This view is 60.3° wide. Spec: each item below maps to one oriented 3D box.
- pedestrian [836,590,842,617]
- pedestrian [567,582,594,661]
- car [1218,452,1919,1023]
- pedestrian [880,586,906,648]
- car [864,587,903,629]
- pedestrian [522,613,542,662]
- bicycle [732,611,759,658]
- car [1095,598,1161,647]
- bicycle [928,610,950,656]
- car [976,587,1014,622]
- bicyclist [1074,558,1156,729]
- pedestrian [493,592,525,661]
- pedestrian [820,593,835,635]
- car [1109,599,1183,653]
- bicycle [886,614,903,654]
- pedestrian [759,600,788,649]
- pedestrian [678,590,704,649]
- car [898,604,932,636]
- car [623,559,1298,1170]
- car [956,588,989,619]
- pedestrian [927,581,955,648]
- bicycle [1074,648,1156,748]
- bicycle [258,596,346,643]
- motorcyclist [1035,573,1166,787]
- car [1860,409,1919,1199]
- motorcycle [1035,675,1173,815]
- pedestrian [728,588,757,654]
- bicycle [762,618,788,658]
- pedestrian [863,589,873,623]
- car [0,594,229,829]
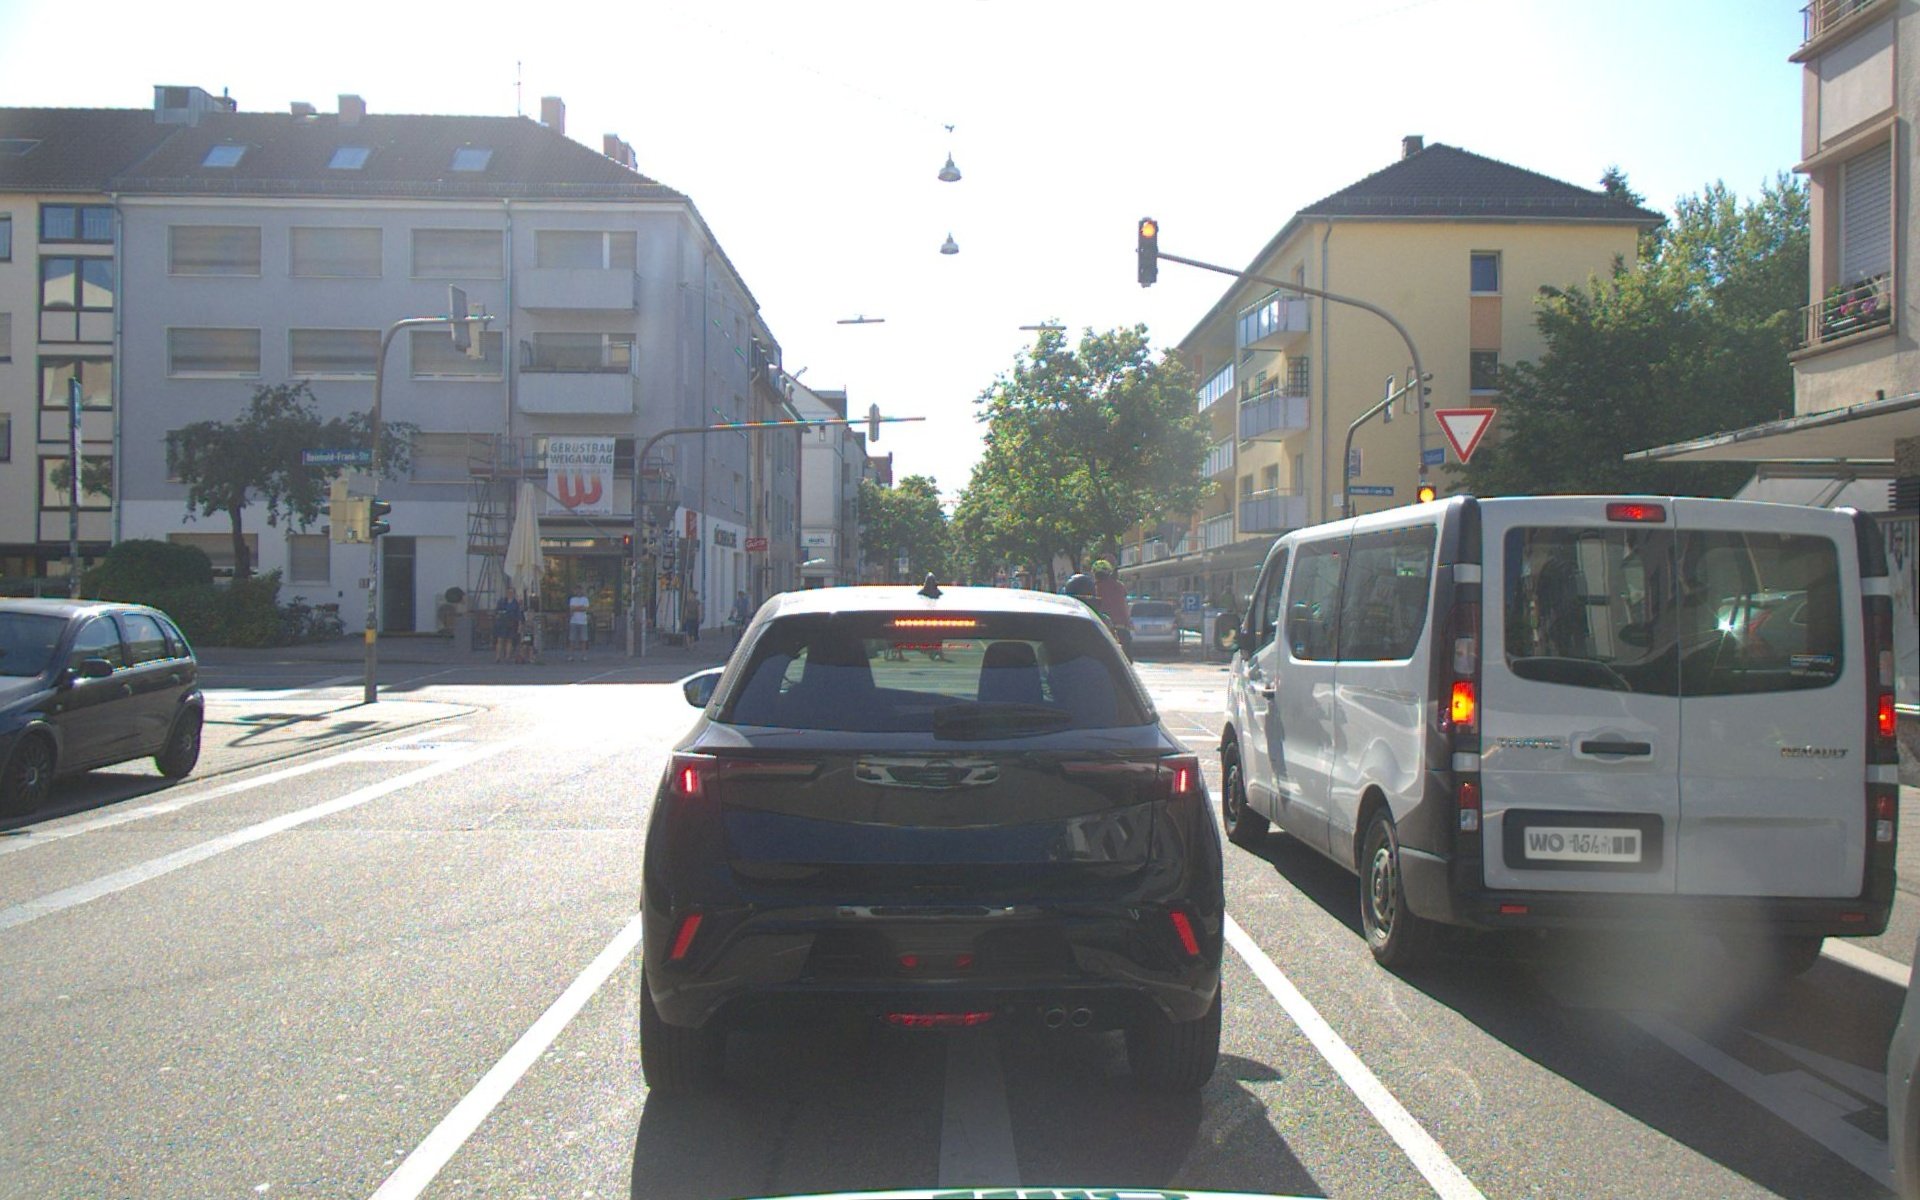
[{"bbox_3d":[-7.643,0.213,104.400,0.394,1.704,0.417,0,0,-1],"label":"pedestrian"},{"bbox_3d":[-8.690,0.492,37.882,0.550,1.806,0.582,1,0,-9],"label":"pedestrian"},{"bbox_3d":[2.718,0.499,8.509,1.953,2.013,4.895,2,0,0],"label":"car"},{"bbox_3d":[-1.770,0.452,43.757,0.666,1.634,0.762,0,0,-3],"label":"pedestrian"},{"bbox_3d":[-3.821,0.399,82.633,1.817,2.049,3.880,0,0,-1],"label":"car"},{"bbox_3d":[-9.659,0.844,37.326,0.348,1.111,0.461,0,0,-4],"label":"pedestrian"},{"bbox_3d":[-5.689,0.900,43.900,0.511,1.167,2.282,0,0,-3],"label":"bicycle"},{"bbox_3d":[5.247,0.674,51.958,1.601,1.458,3.999,0,0,-1],"label":"car"},{"bbox_3d":[-0.561,0.857,43.428,0.511,1.167,2.169,0,0,-3],"label":"bicycle"},{"bbox_3d":[1.775,0.216,85.040,1.863,1.758,4.073,0,0,0],"label":"car"},{"bbox_3d":[1.630,0.440,17.556,0.675,1.742,1.413,0,0,-3],"label":"bicyclist"},{"bbox_3d":[-10.164,0.597,37.260,0.573,1.547,0.649,0,0,-4],"label":"pedestrian"},{"bbox_3d":[-5.359,0.565,67.128,0.558,1.719,0.588,0,0,-1],"label":"pedestrian"},{"bbox_3d":[5.286,0.712,47.340,1.601,1.458,3.956,0,0,-1],"label":"car"},{"bbox_3d":[-1.749,0.901,43.926,0.434,1.010,2.068,0,0,-3],"label":"bicycle"},{"bbox_3d":[-4.895,0.629,43.478,0.692,1.275,0.802,0,0,-3],"label":"pedestrian"},{"bbox_3d":[-7.158,0.512,44.010,0.605,1.547,0.724,0,0,-4],"label":"pedestrian"},{"bbox_3d":[-2.554,1.134,94.719,1.787,1.758,4.000,0,0,1],"label":"car"},{"bbox_3d":[-0.077,0.673,6.264,1.735,1.557,3.998,0,0,-3],"label":"car"},{"bbox_3d":[0.716,0.180,94.895,1.863,1.758,4.000,0,0,0],"label":"car"},{"bbox_3d":[-0.500,0.386,43.358,0.692,1.731,0.802,0,0,-3],"label":"pedestrian"},{"bbox_3d":[1.631,1.016,17.730,0.565,0.920,2.300,0,0,-3],"label":"bicycle"},{"bbox_3d":[-16.887,0.487,42.467,2.067,1.193,0.735,0,0,-25],"label":"bicycle"},{"bbox_3d":[1.035,0.570,12.422,0.846,1.528,1.159,0,0,-2],"label":"motorcyclist"},{"bbox_3d":[3.015,0.564,1.229,1.799,1.901,4.993,0,0,-3],"label":"car"},{"bbox_3d":[1.024,1.034,12.200,0.808,0.860,1.884,0,0,-1],"label":"motorcycle"},{"bbox_3d":[-5.720,0.541,43.574,0.692,1.707,0.802,0,0,-3],"label":"pedestrian"},{"bbox_3d":[-4.883,0.985,43.787,0.511,1.010,2.338,0,0,-3],"label":"bicycle"},{"bbox_3d":[-4.682,0.322,84.364,0.478,1.719,0.588,0,0,-1],"label":"pedestrian"},{"bbox_3d":[-7.088,0.728,12.368,1.584,1.450,3.709,3,0,-1],"label":"car"}]
